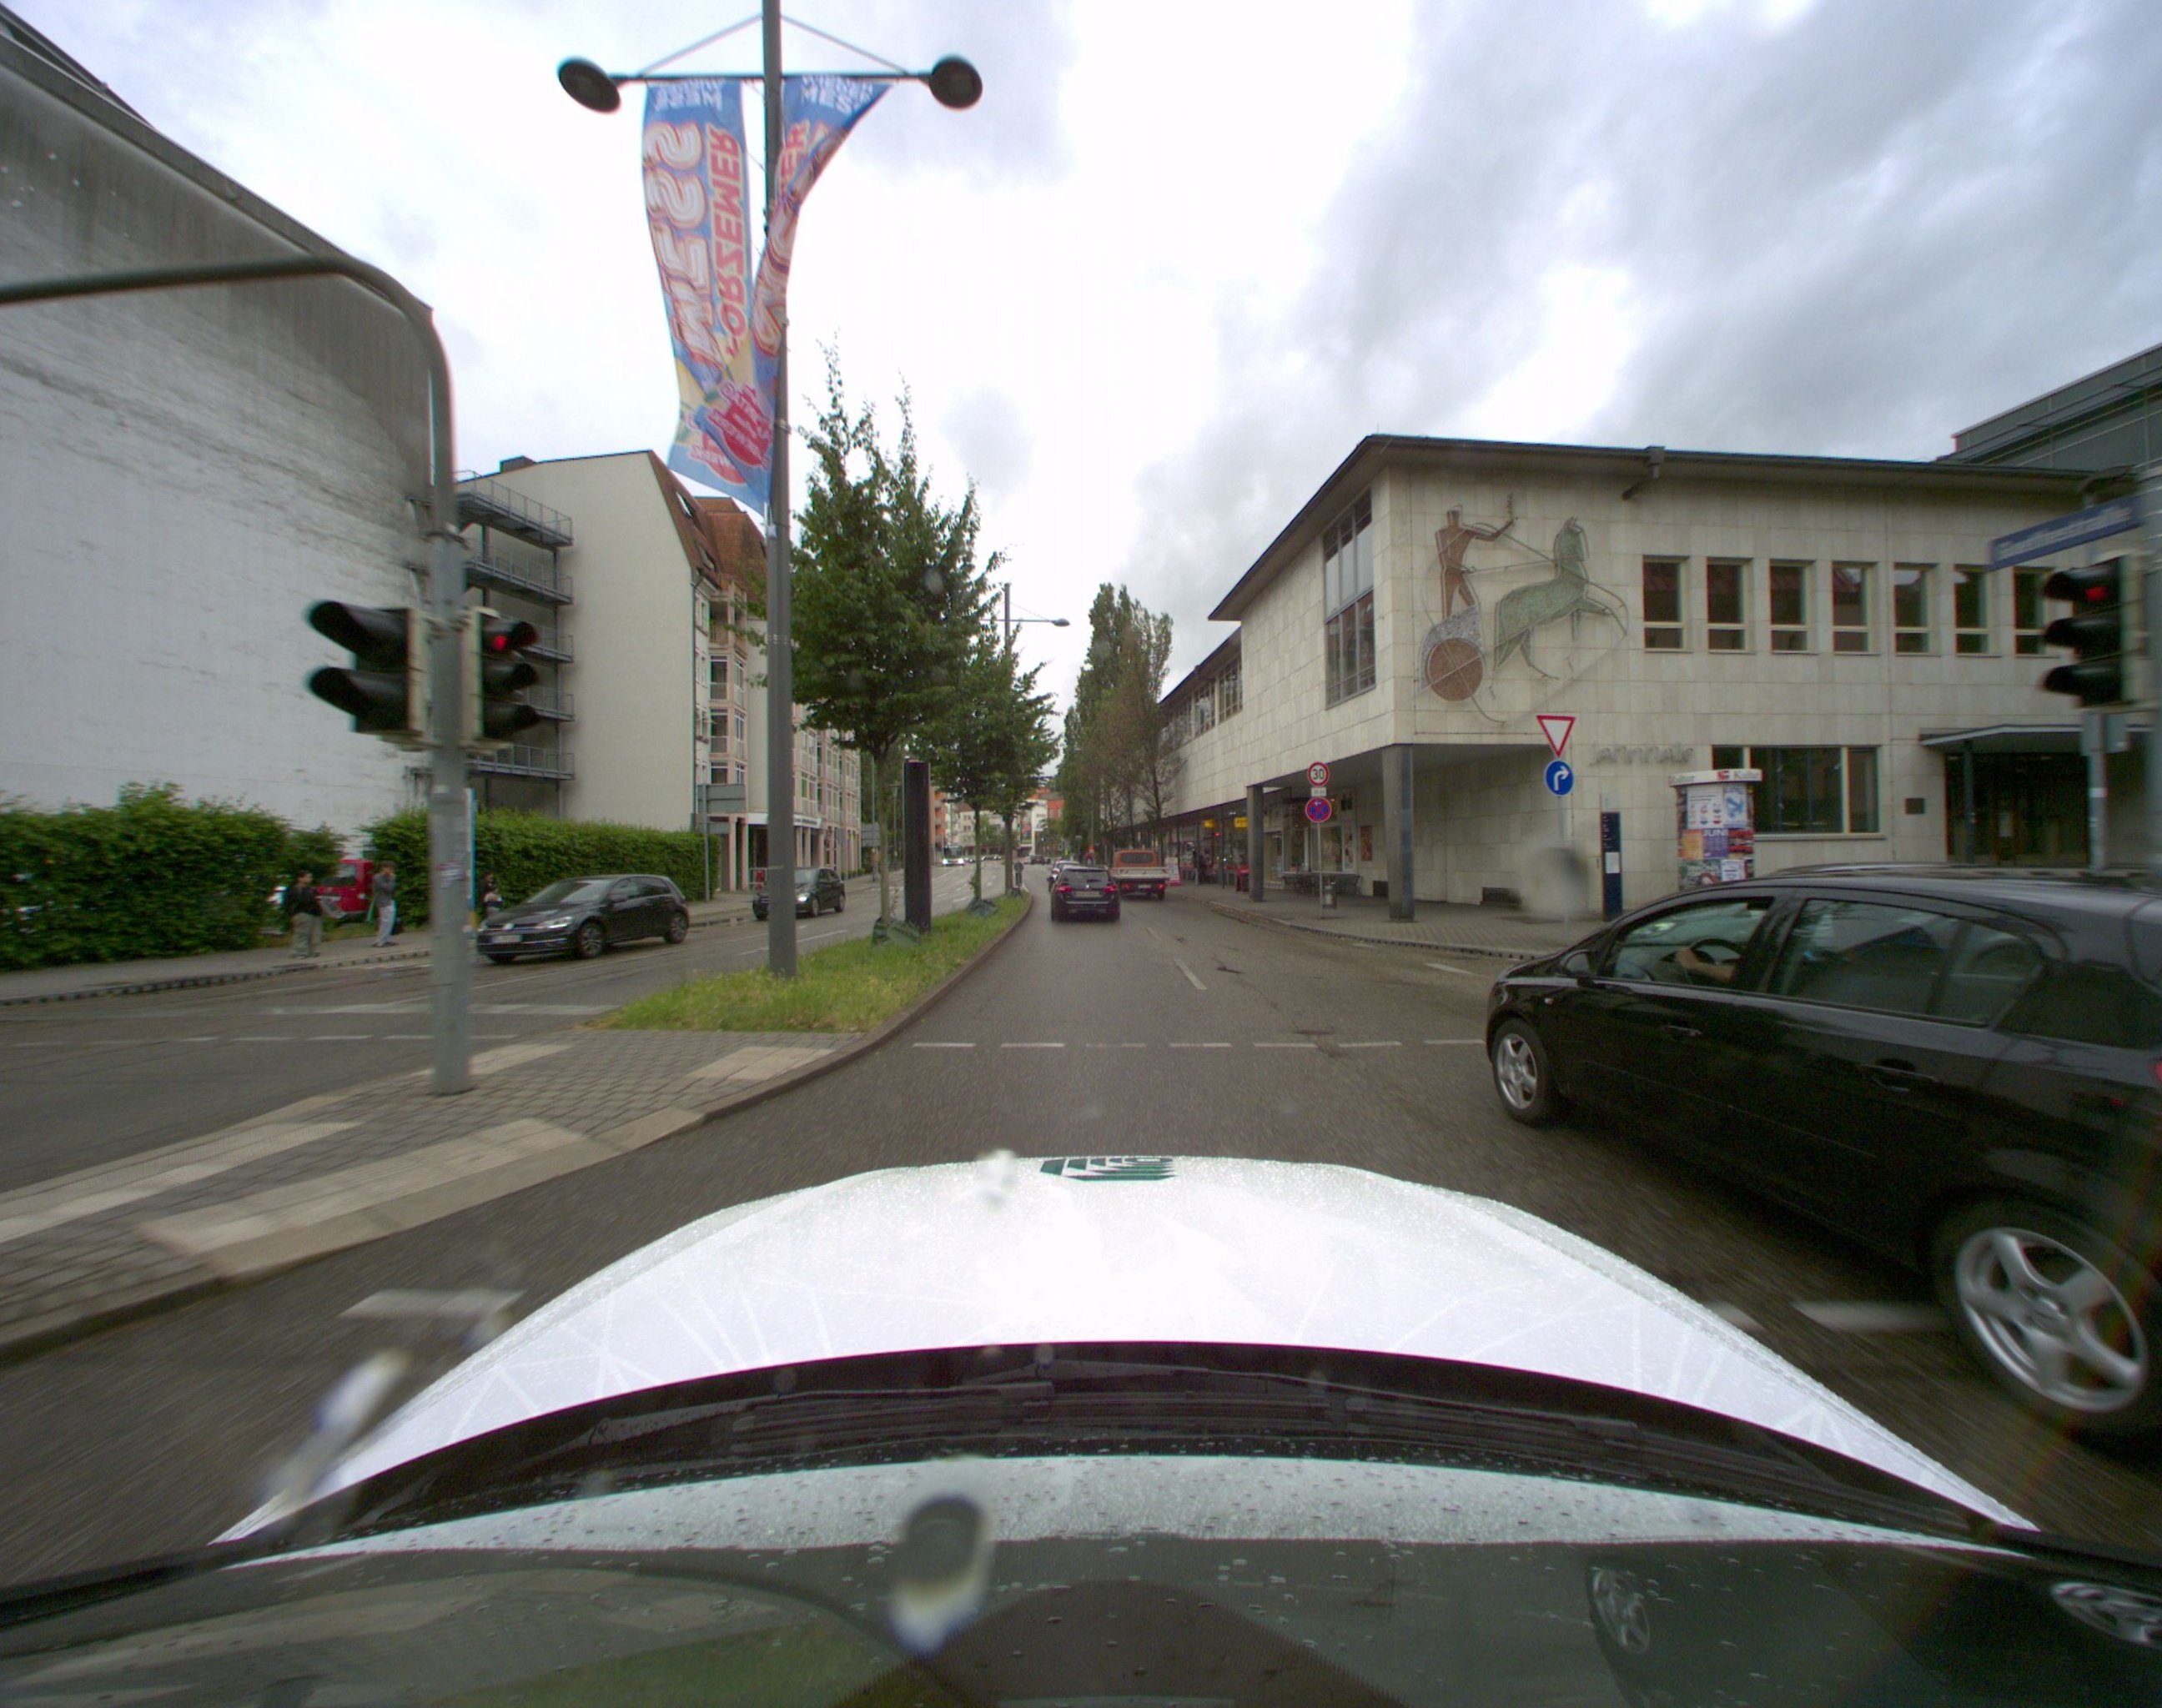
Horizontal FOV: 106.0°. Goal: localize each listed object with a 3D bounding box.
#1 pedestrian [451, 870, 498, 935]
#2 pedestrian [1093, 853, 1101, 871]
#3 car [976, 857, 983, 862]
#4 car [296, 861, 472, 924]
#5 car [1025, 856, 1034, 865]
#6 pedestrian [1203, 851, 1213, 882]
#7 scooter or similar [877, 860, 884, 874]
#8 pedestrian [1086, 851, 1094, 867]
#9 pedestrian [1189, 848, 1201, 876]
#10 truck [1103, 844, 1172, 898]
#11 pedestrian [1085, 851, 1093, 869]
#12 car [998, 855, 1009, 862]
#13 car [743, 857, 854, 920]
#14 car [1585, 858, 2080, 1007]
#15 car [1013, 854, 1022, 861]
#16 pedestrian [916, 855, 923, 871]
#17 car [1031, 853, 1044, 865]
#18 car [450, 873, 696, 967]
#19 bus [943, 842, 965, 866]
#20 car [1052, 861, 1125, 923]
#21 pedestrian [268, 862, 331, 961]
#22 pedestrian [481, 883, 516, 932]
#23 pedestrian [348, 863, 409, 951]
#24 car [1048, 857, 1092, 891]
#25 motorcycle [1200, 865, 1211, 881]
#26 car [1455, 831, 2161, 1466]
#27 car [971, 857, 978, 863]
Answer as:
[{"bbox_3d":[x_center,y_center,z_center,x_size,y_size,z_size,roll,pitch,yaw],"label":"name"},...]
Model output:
[{"bbox_3d":[-14.846,1.179,19.954,0.712,1.559,0.565,-1,0,-3],"label":"pedestrian"},{"bbox_3d":[1.553,0.772,80.134,0.697,1.801,0.605,-2,0,-6],"label":"pedestrian"},{"bbox_3d":[-26.522,1.485,212.604,1.791,1.325,4.393,-1,0,-9],"label":"car"},{"bbox_3d":[-18.561,0.969,21.914,1.589,1.510,3.600,-1,-1,1],"label":"car"},{"bbox_3d":[-9.899,1.291,156.850,1.642,1.564,3.592,2,-3,-6],"label":"car"},{"bbox_3d":[6.686,0.653,42.770,0.387,1.566,0.429,-1,0,-8],"label":"pedestrian"},{"bbox_3d":[-19.355,1.231,78.733,0.481,1.313,1.567,-1,2,-10],"label":"scooter or similar"},{"bbox_3d":[0.936,0.532,87.371,0.725,1.589,0.605,-2,0,-7],"label":"pedestrian"},{"bbox_3d":[6.365,0.458,45.604,0.425,1.566,0.513,-1,0,40],"label":"pedestrian"},{"bbox_3d":[2.214,0.694,33.103,2.118,2.025,4.707,0,-1,-5],"label":"truck"},{"bbox_3d":[0.763,0.573,80.108,0.652,1.767,0.921,-2,0,-6],"label":"pedestrian"},{"bbox_3d":[-21.409,1.236,224.049,1.655,1.564,3.564,3,-3,-30],"label":"car"},{"bbox_3d":[-8.828,1.017,25.835,1.820,1.736,4.261,-3,-1,2],"label":"car"},{"bbox_3d":[8.527,0.800,9.814,3.951,1.477,2.011,0,-1,25],"label":"car"},{"bbox_3d":[-16.651,0.865,213.038,1.993,1.684,3.987,-1,0,-9],"label":"car"},{"bbox_3d":[-18.161,0.975,91.605,0.696,1.794,0.957,0,-1,-3],"label":"pedestrian"},{"bbox_3d":[-6.221,0.731,116.306,1.642,1.564,3.592,2,-3,-6],"label":"car"},{"bbox_3d":[-9.165,1.116,15.176,1.749,1.420,4.101,-3,-1,4],"label":"car"},{"bbox_3d":[-18.046,-0.083,116.068,2.742,3.075,12.205,-1,1,-8],"label":"bus"},{"bbox_3d":[0.218,0.970,22.064,1.788,1.483,4.000,1,-1,1],"label":"car"},{"bbox_3d":[-14.461,1.046,15.078,0.524,1.764,0.631,-1,-1,2],"label":"pedestrian"},{"bbox_3d":[-14.297,1.306,20.000,0.467,1.150,0.501,-1,0,-2],"label":"pedestrian"},{"bbox_3d":[-14.433,1.083,16.743,0.639,1.765,0.593,-1,-3,2],"label":"pedestrian"},{"bbox_3d":[-0.564,0.900,38.116,1.792,1.483,3.993,-1,0,-5],"label":"car"},{"bbox_3d":[6.553,0.977,42.907,0.323,0.804,0.918,-2,1,-6],"label":"motorcycle"},{"bbox_3d":[3.321,0.695,3.468,1.703,1.457,3.741,1,0,-1],"label":"car"},{"bbox_3d":[-26.781,1.518,204.936,1.789,1.325,4.397,-1,0,-6],"label":"car"}]
